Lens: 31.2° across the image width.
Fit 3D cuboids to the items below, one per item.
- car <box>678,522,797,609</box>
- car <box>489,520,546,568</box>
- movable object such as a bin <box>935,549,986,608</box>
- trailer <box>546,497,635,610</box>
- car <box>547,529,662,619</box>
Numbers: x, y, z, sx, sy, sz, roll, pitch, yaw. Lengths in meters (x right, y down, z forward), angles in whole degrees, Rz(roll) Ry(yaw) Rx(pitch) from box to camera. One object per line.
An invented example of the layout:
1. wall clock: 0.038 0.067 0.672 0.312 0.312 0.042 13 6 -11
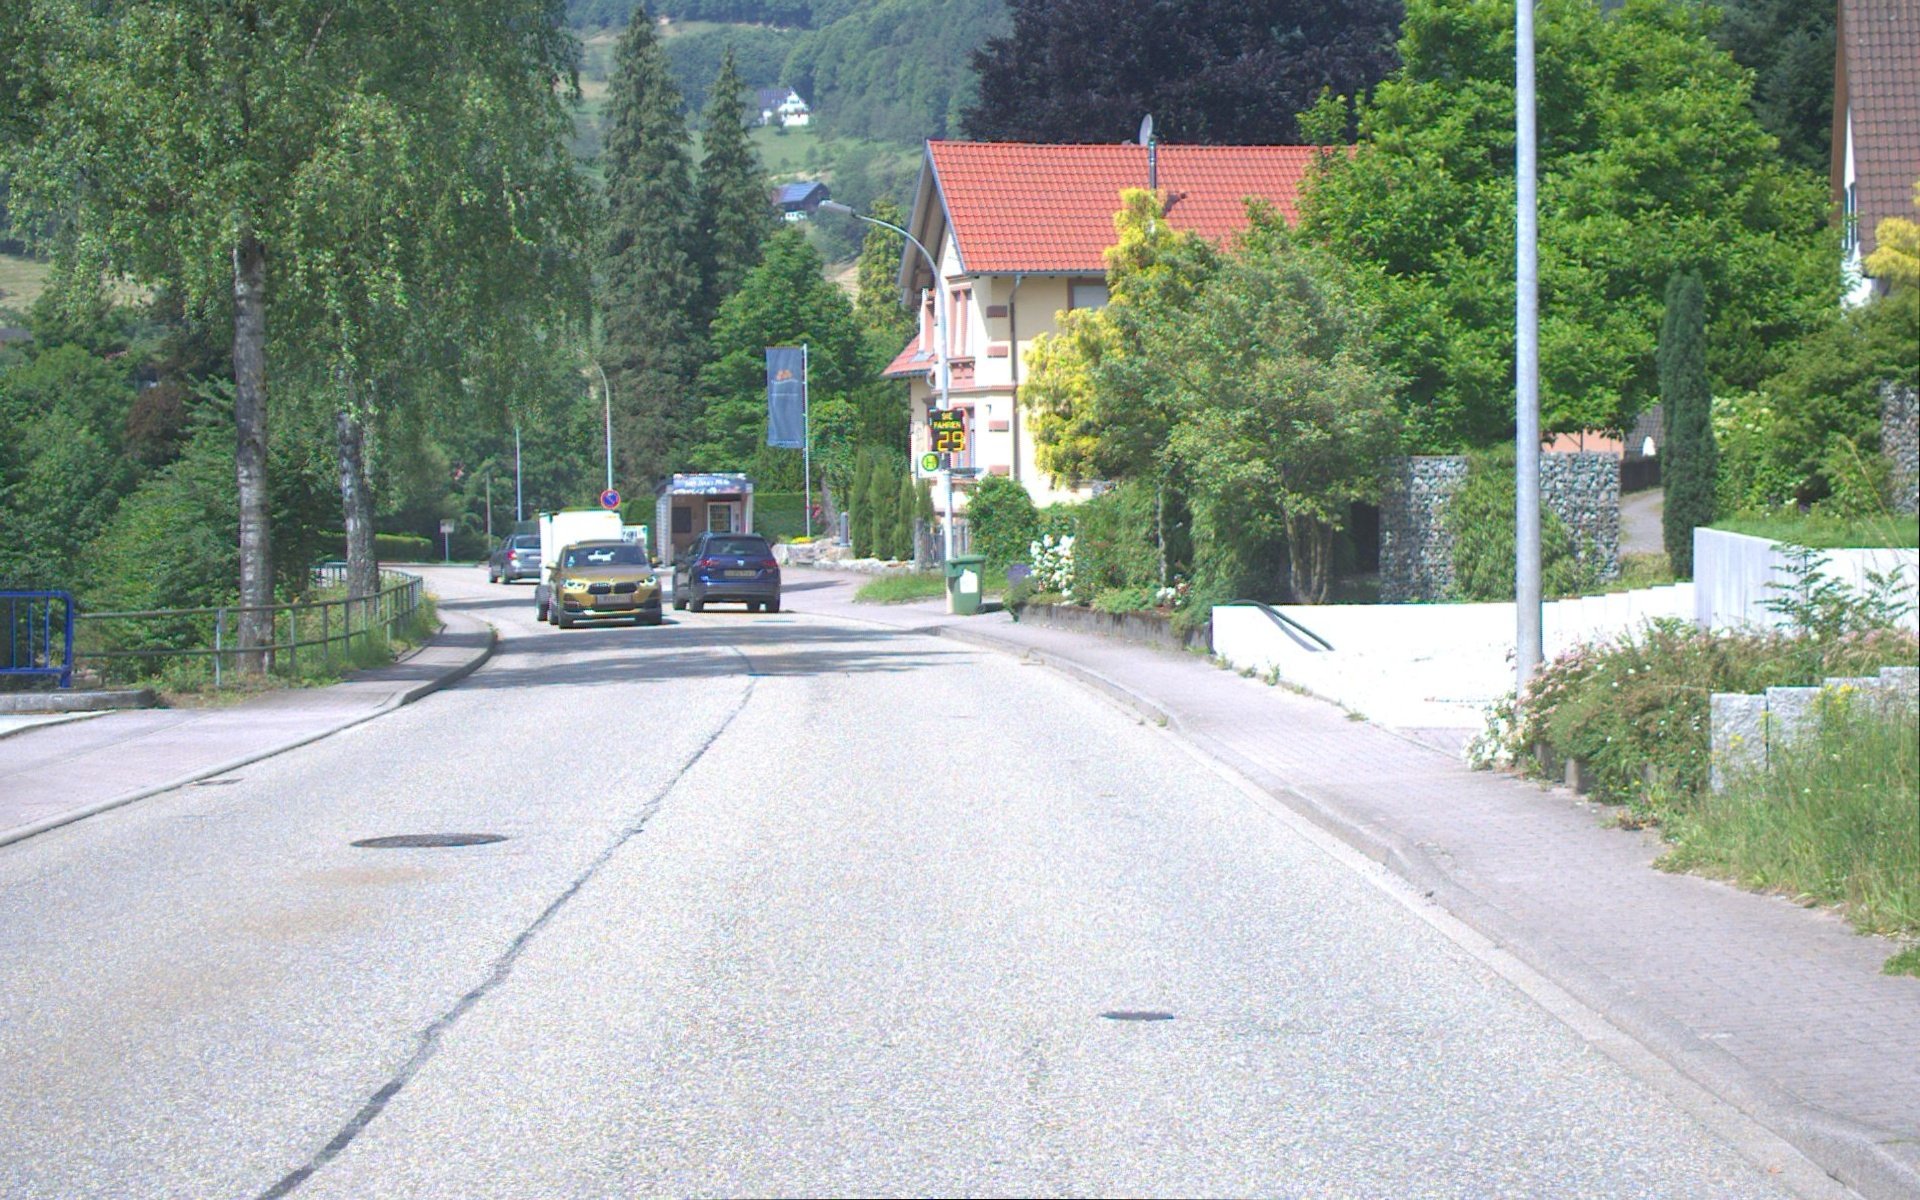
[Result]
1. car: -4.612 -0.729 70.887 1.919 1.692 3.789 -2 1 -11
2. car: -13.265 -1.686 103.030 1.628 1.417 3.399 0 1 -8
3. movable object such as a bin: 0.004 -0.394 62.200 0.809 1.039 0.579 -2 2 -9
4. trailer: -7.123 -0.917 66.488 1.466 2.070 3.671 -2 1 -3
5. car: -6.331 -0.497 61.571 1.813 1.495 4.150 -2 1 -3
